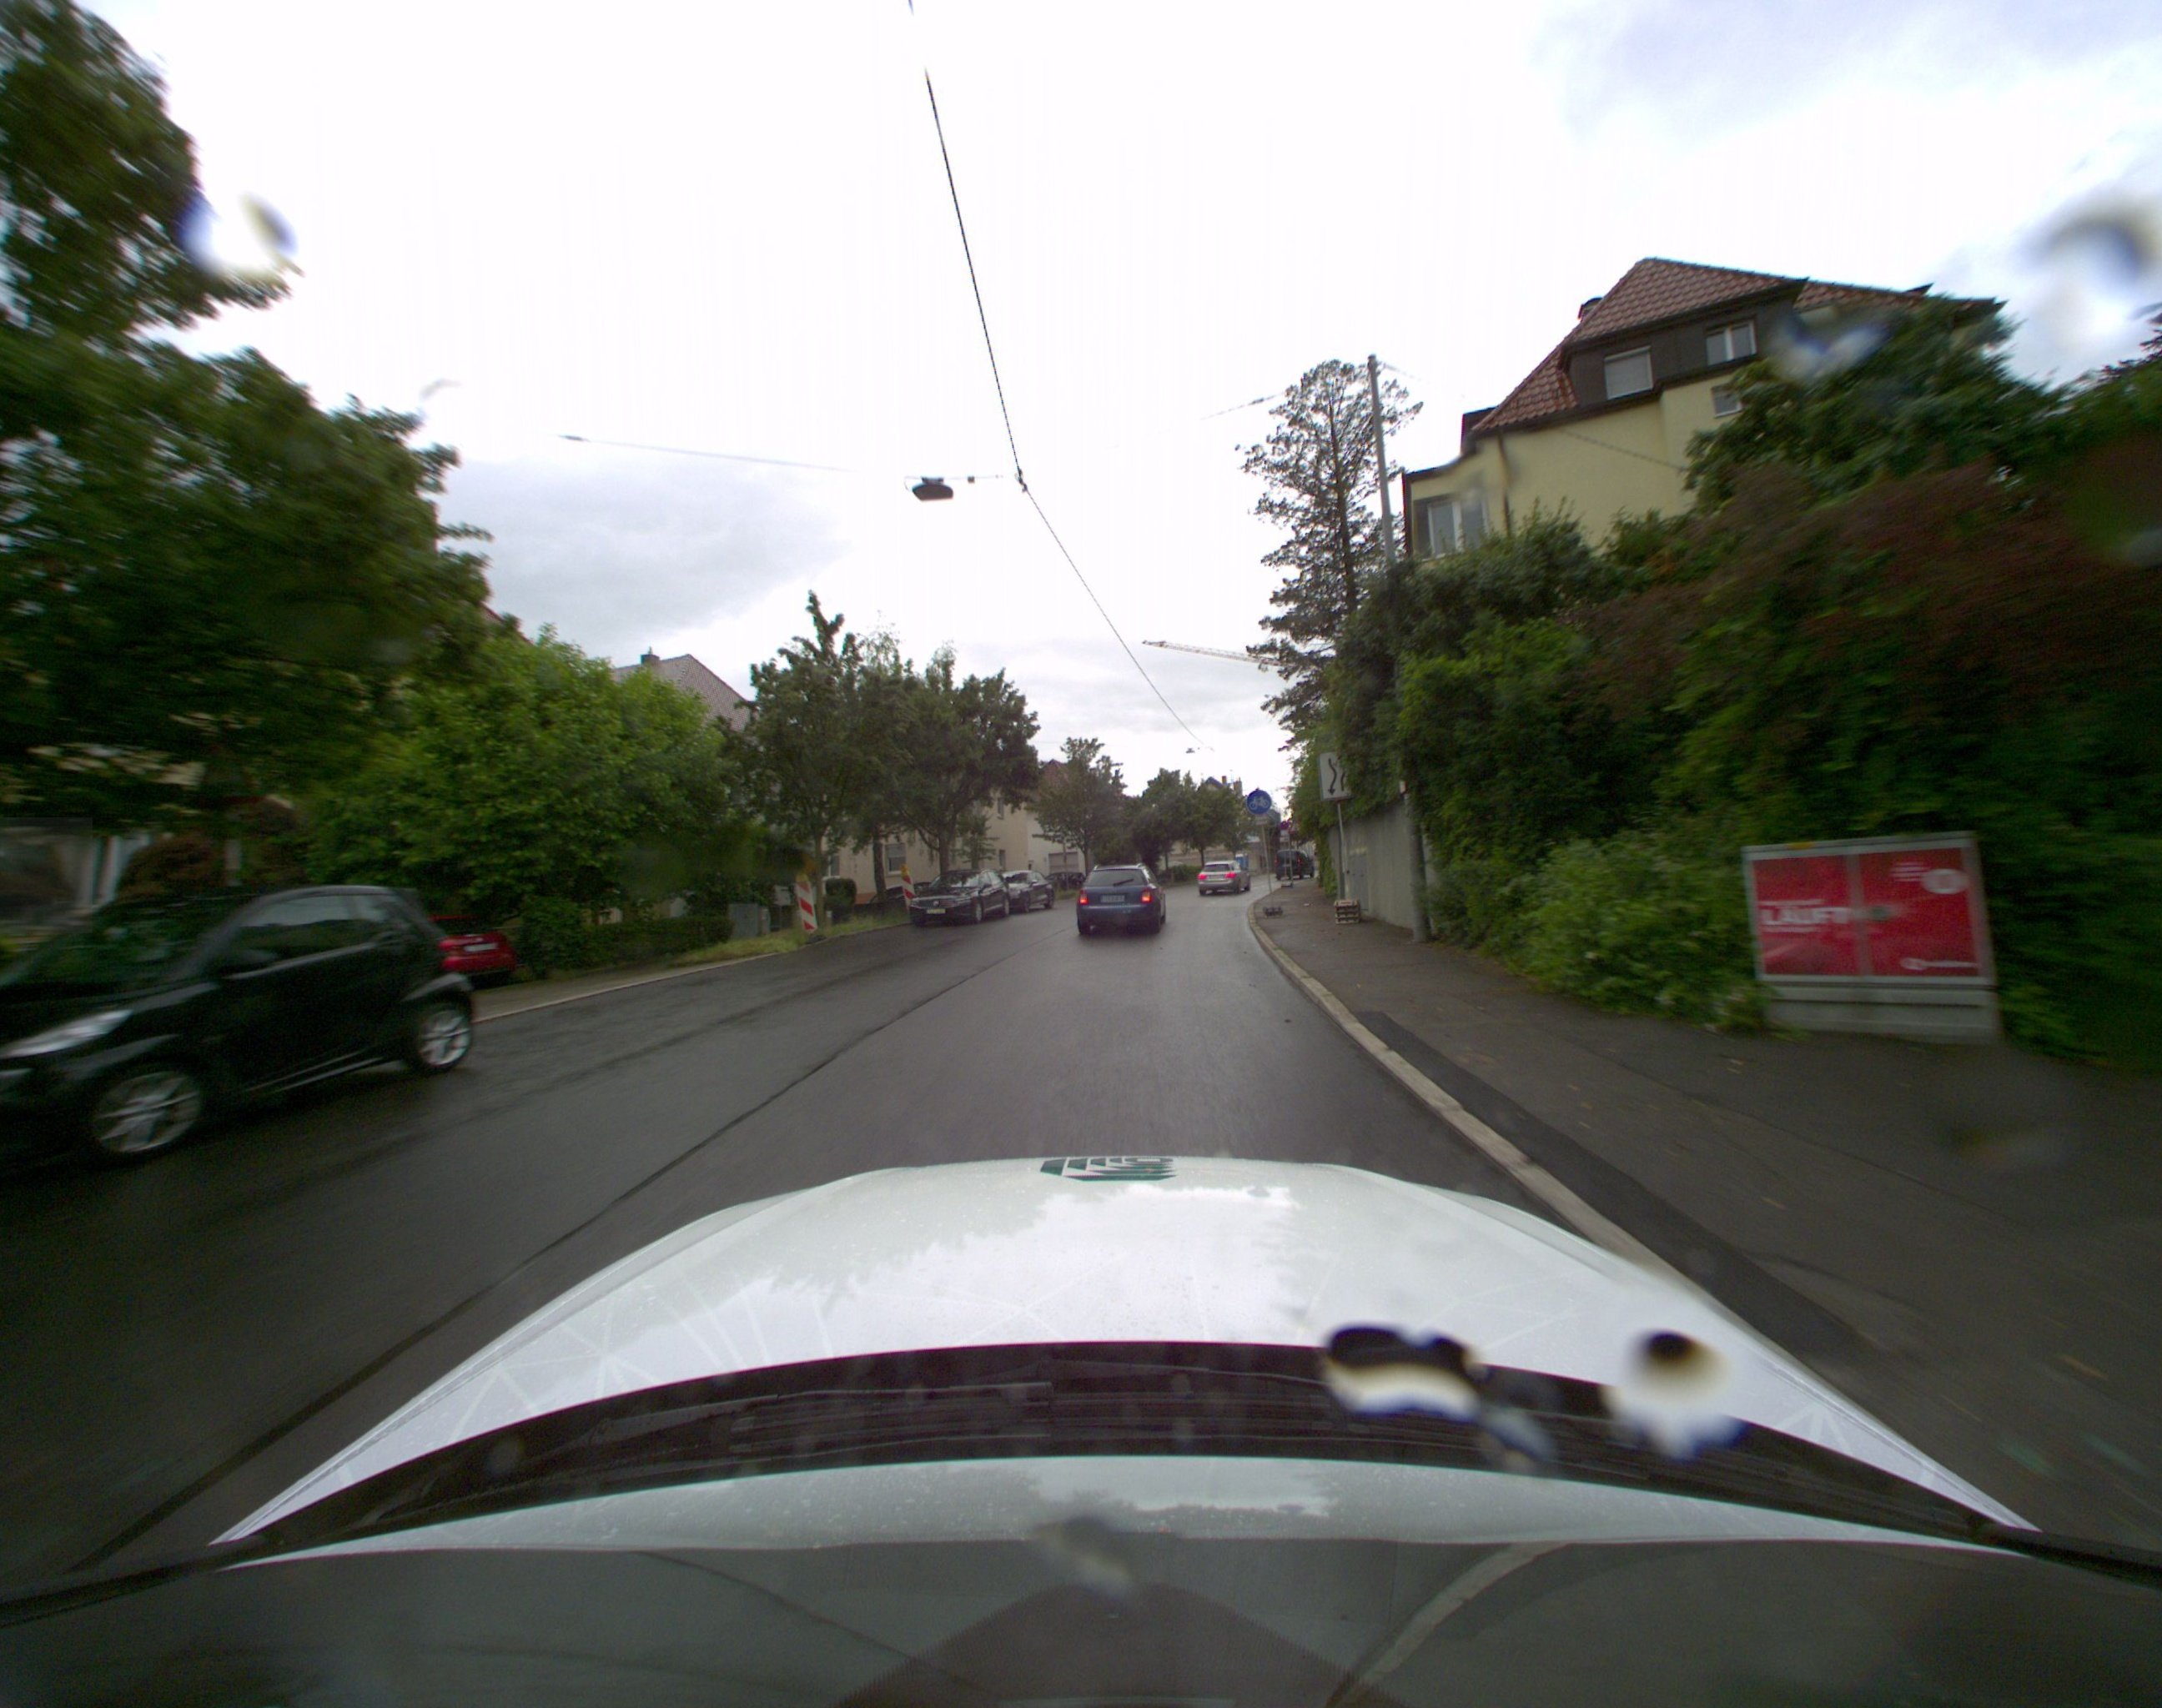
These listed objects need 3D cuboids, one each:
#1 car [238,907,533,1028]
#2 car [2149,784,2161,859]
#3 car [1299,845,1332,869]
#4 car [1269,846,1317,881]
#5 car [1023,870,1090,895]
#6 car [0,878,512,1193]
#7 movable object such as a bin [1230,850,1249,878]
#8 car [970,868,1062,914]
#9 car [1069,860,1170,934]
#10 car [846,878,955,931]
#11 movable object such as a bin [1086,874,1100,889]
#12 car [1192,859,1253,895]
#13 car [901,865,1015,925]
[{"bbox_3d":[-12.471,2.011,14.740,3.897,1.394,1.782,-10,-3,7],"label":"car"},{"bbox_3d":[21.296,-0.554,14.658,1.852,1.460,3.751,-3,3,43],"label":"car"},{"bbox_3d":[17.156,0.278,59.550,1.704,1.660,3.735,-1,-2,25],"label":"car"},{"bbox_3d":[13.288,0.568,50.836,1.714,1.894,4.080,-8,-4,28],"label":"car"},{"bbox_3d":[-1.570,1.867,53.083,3.904,1.543,1.874,-1,0,24],"label":"car"},{"bbox_3d":[-5.857,0.987,5.664,1.511,1.535,3.038,-2,-1,3],"label":"car"},{"bbox_3d":[15.131,0.952,77.762,1.300,2.506,1.395,-6,-2,28],"label":"movable object such as a bin"},{"bbox_3d":[-2.157,1.226,28.330,1.694,1.382,4.548,-2,-1,15],"label":"car"},{"bbox_3d":[0.978,0.887,18.267,1.766,1.439,4.010,-2,-1,9],"label":"car"},{"bbox_3d":[-7.898,2.212,35.659,4.201,1.504,1.925,-12,-5,24],"label":"car"},{"bbox_3d":[0.791,1.840,54.086,0.663,0.921,0.595,-3,-1,25],"label":"movable object such as a bin"},{"bbox_3d":[6.406,0.995,36.574,1.893,1.388,4.372,-4,-1,20],"label":"car"},{"bbox_3d":[-3.318,1.079,22.917,1.722,1.484,4.542,-2,-1,10],"label":"car"}]
